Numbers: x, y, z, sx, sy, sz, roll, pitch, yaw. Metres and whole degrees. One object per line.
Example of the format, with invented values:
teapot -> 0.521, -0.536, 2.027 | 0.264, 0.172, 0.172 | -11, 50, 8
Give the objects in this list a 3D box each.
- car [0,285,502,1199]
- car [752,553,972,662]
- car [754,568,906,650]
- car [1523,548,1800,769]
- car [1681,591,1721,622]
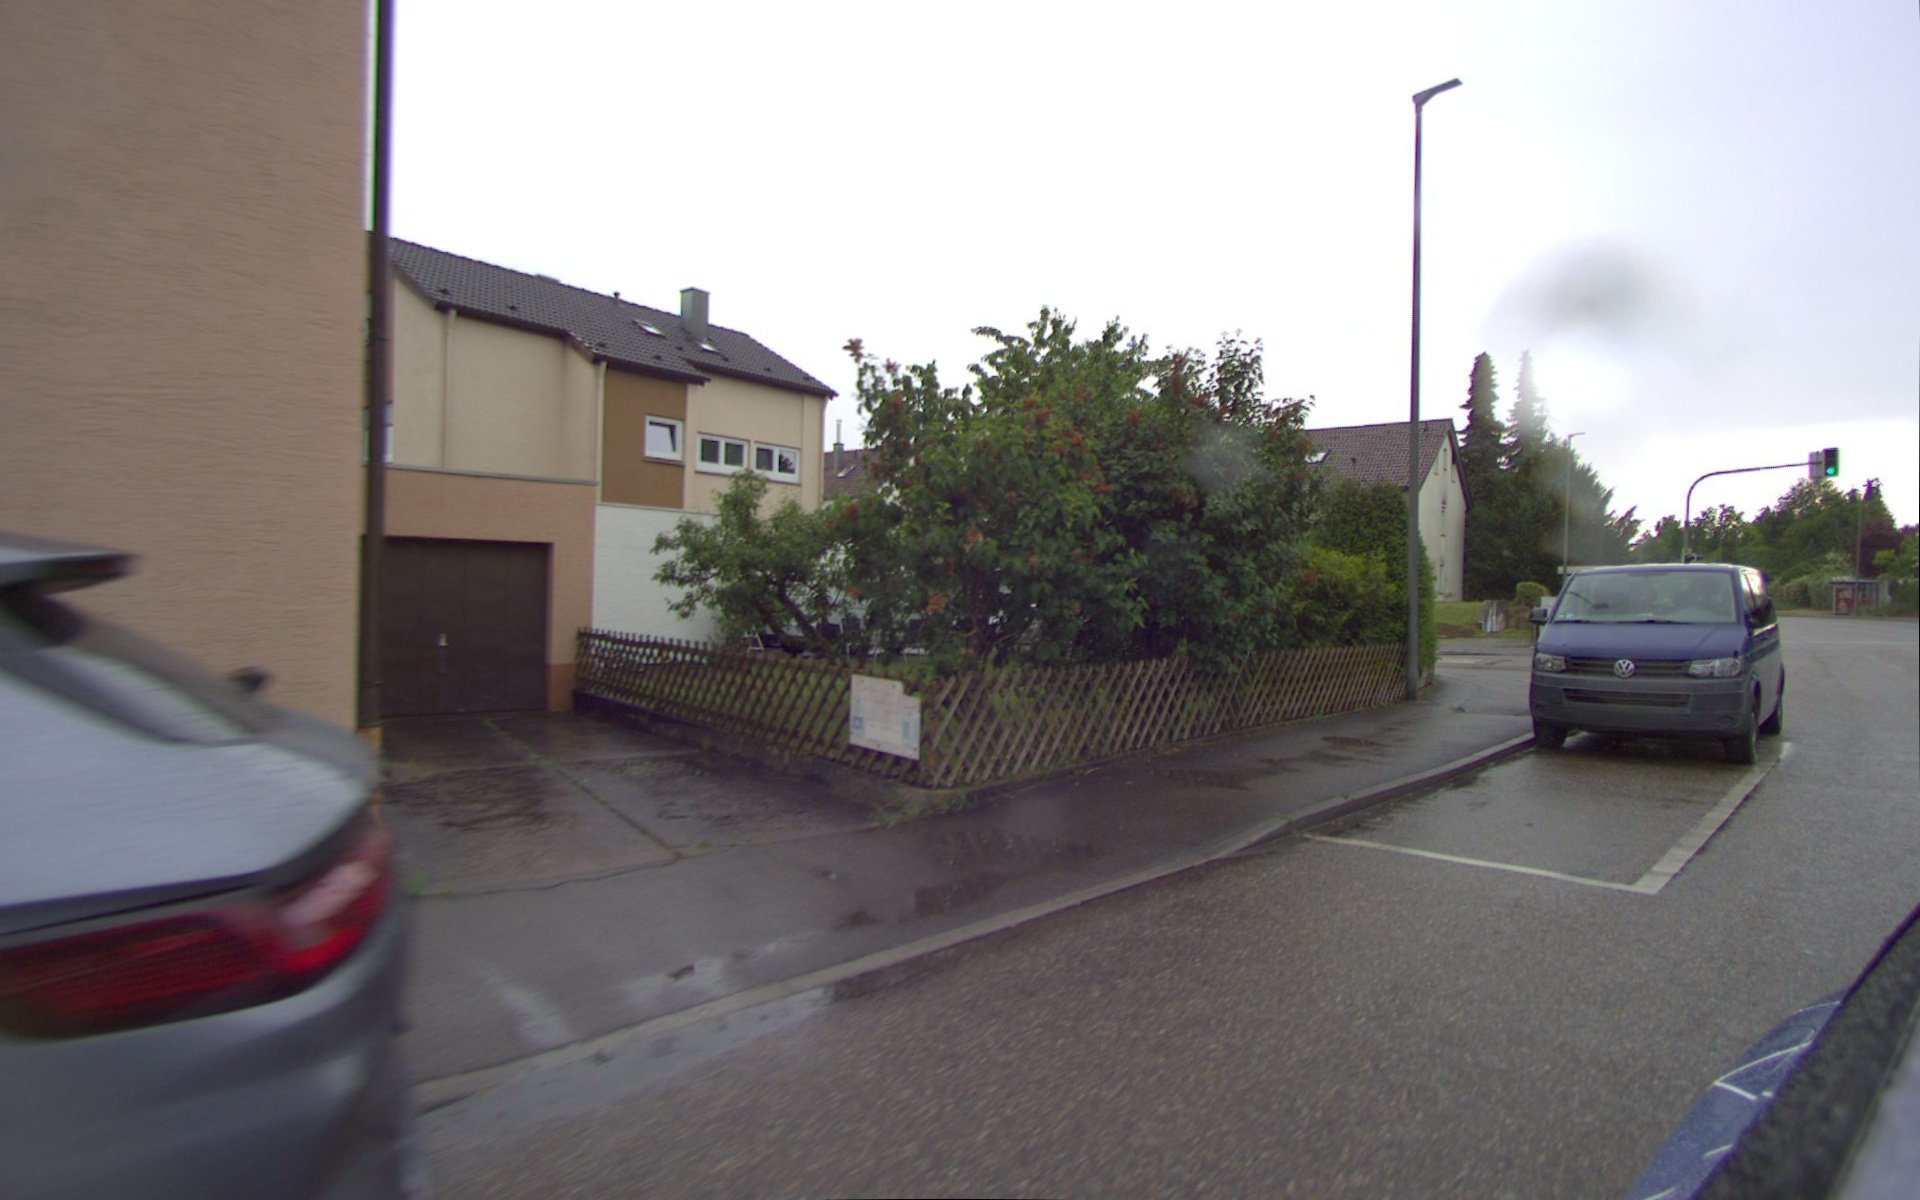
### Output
car -> -2.858, 0.597, 0.494 | 4.475, 1.739, 1.912 | 0, -1, -40
car -> -1.996, 0.150, 22.256 | 1.940, 2.110, 5.117 | 0, 0, 36
car -> -3.103, 0.188, 24.707 | 1.652, 1.841, 3.590 | 0, 0, 38
car -> 7.936, 0.488, 11.238 | 1.929, 1.926, 4.720 | -1, 0, 42
car -> 47.610, 0.387, 65.009 | 1.989, 1.865, 3.947 | 2, 1, 37
